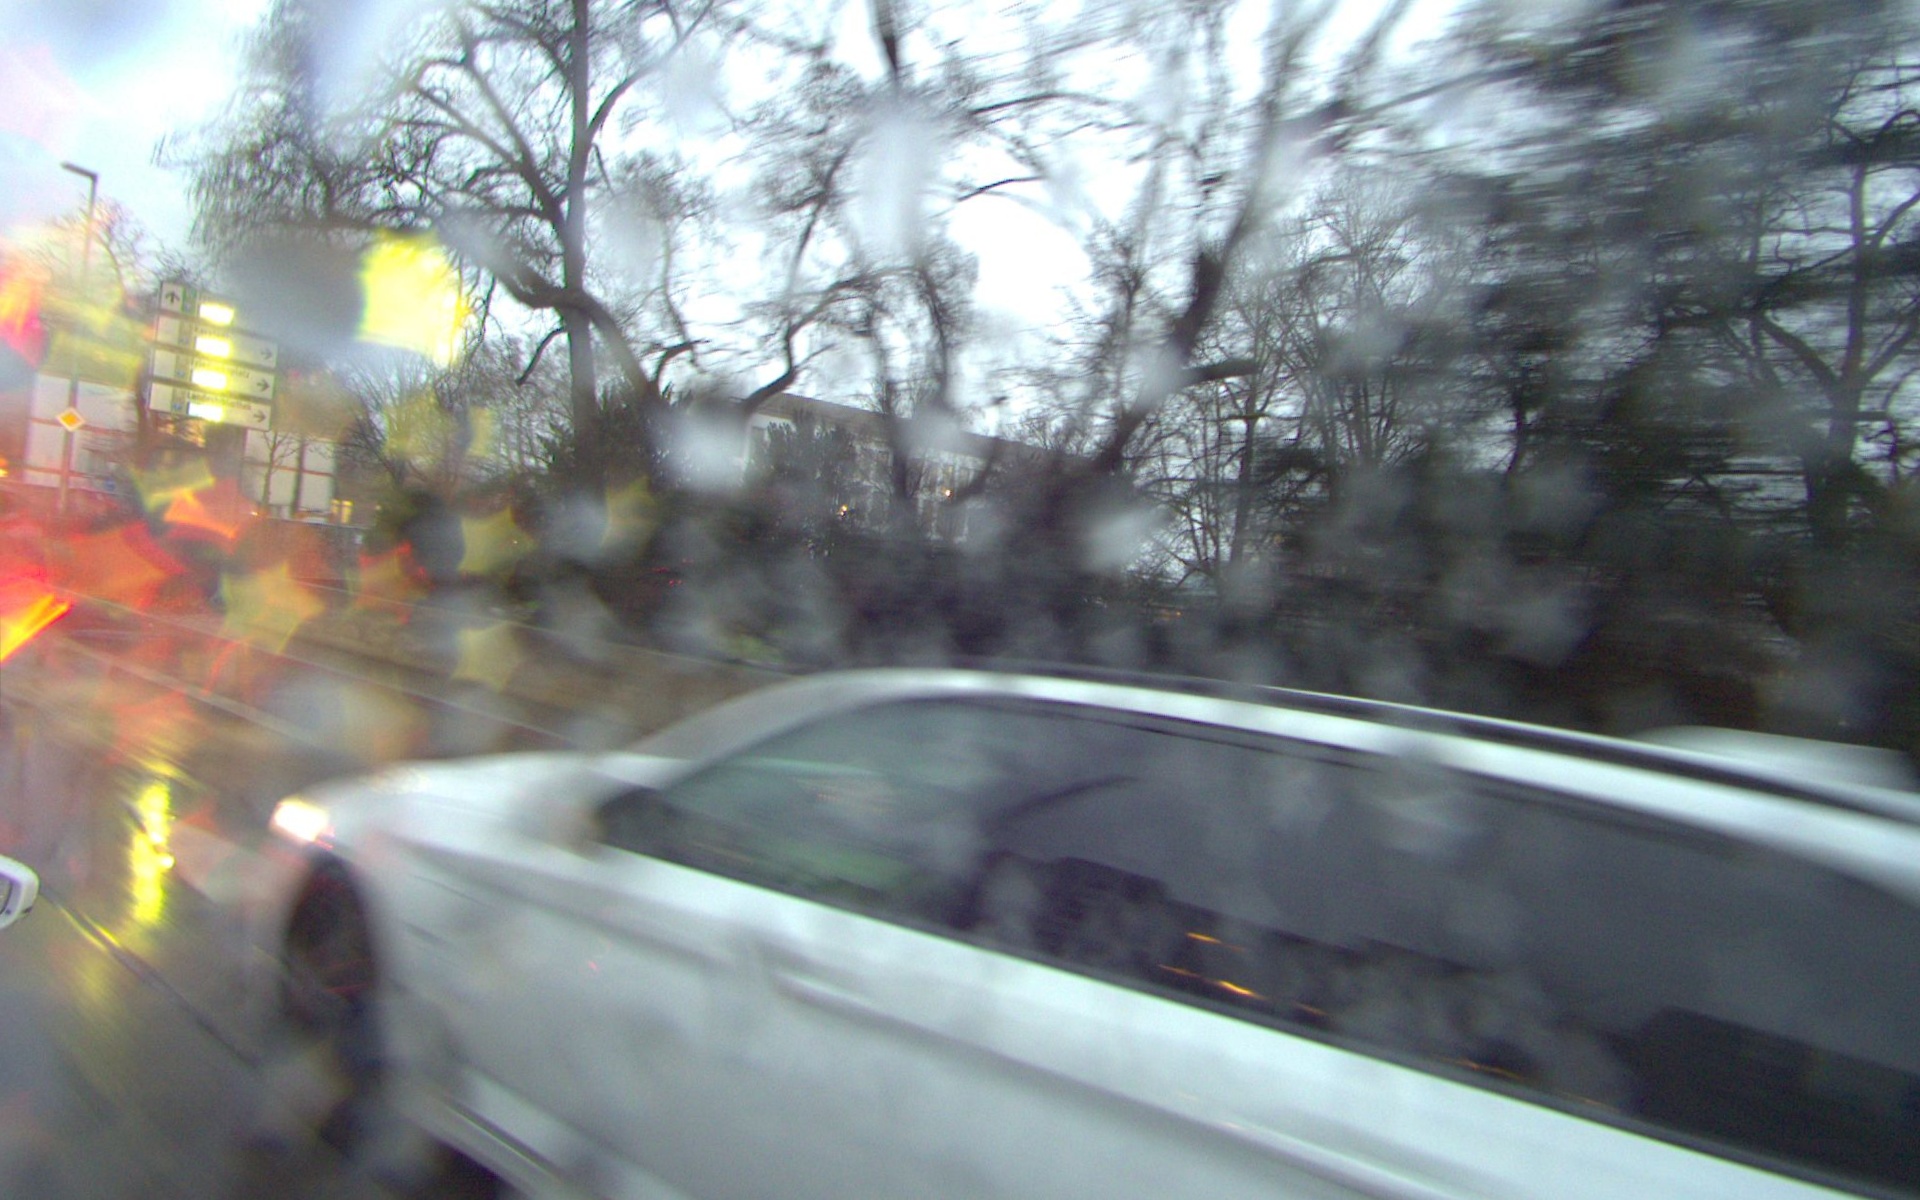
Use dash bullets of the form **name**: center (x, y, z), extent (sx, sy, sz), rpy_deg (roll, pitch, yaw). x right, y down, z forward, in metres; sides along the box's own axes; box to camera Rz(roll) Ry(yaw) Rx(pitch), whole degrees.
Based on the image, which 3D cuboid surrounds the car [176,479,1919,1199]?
- **car**: center (0.160, 0.712, 2.523), extent (4.859, 1.575, 1.864), rpy_deg (7, 0, 34)

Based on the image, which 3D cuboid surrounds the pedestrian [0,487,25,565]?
- **pedestrian**: center (-25.984, -2.039, 27.109), extent (0.994, 2.038, 0.957), rpy_deg (7, 0, 44)
